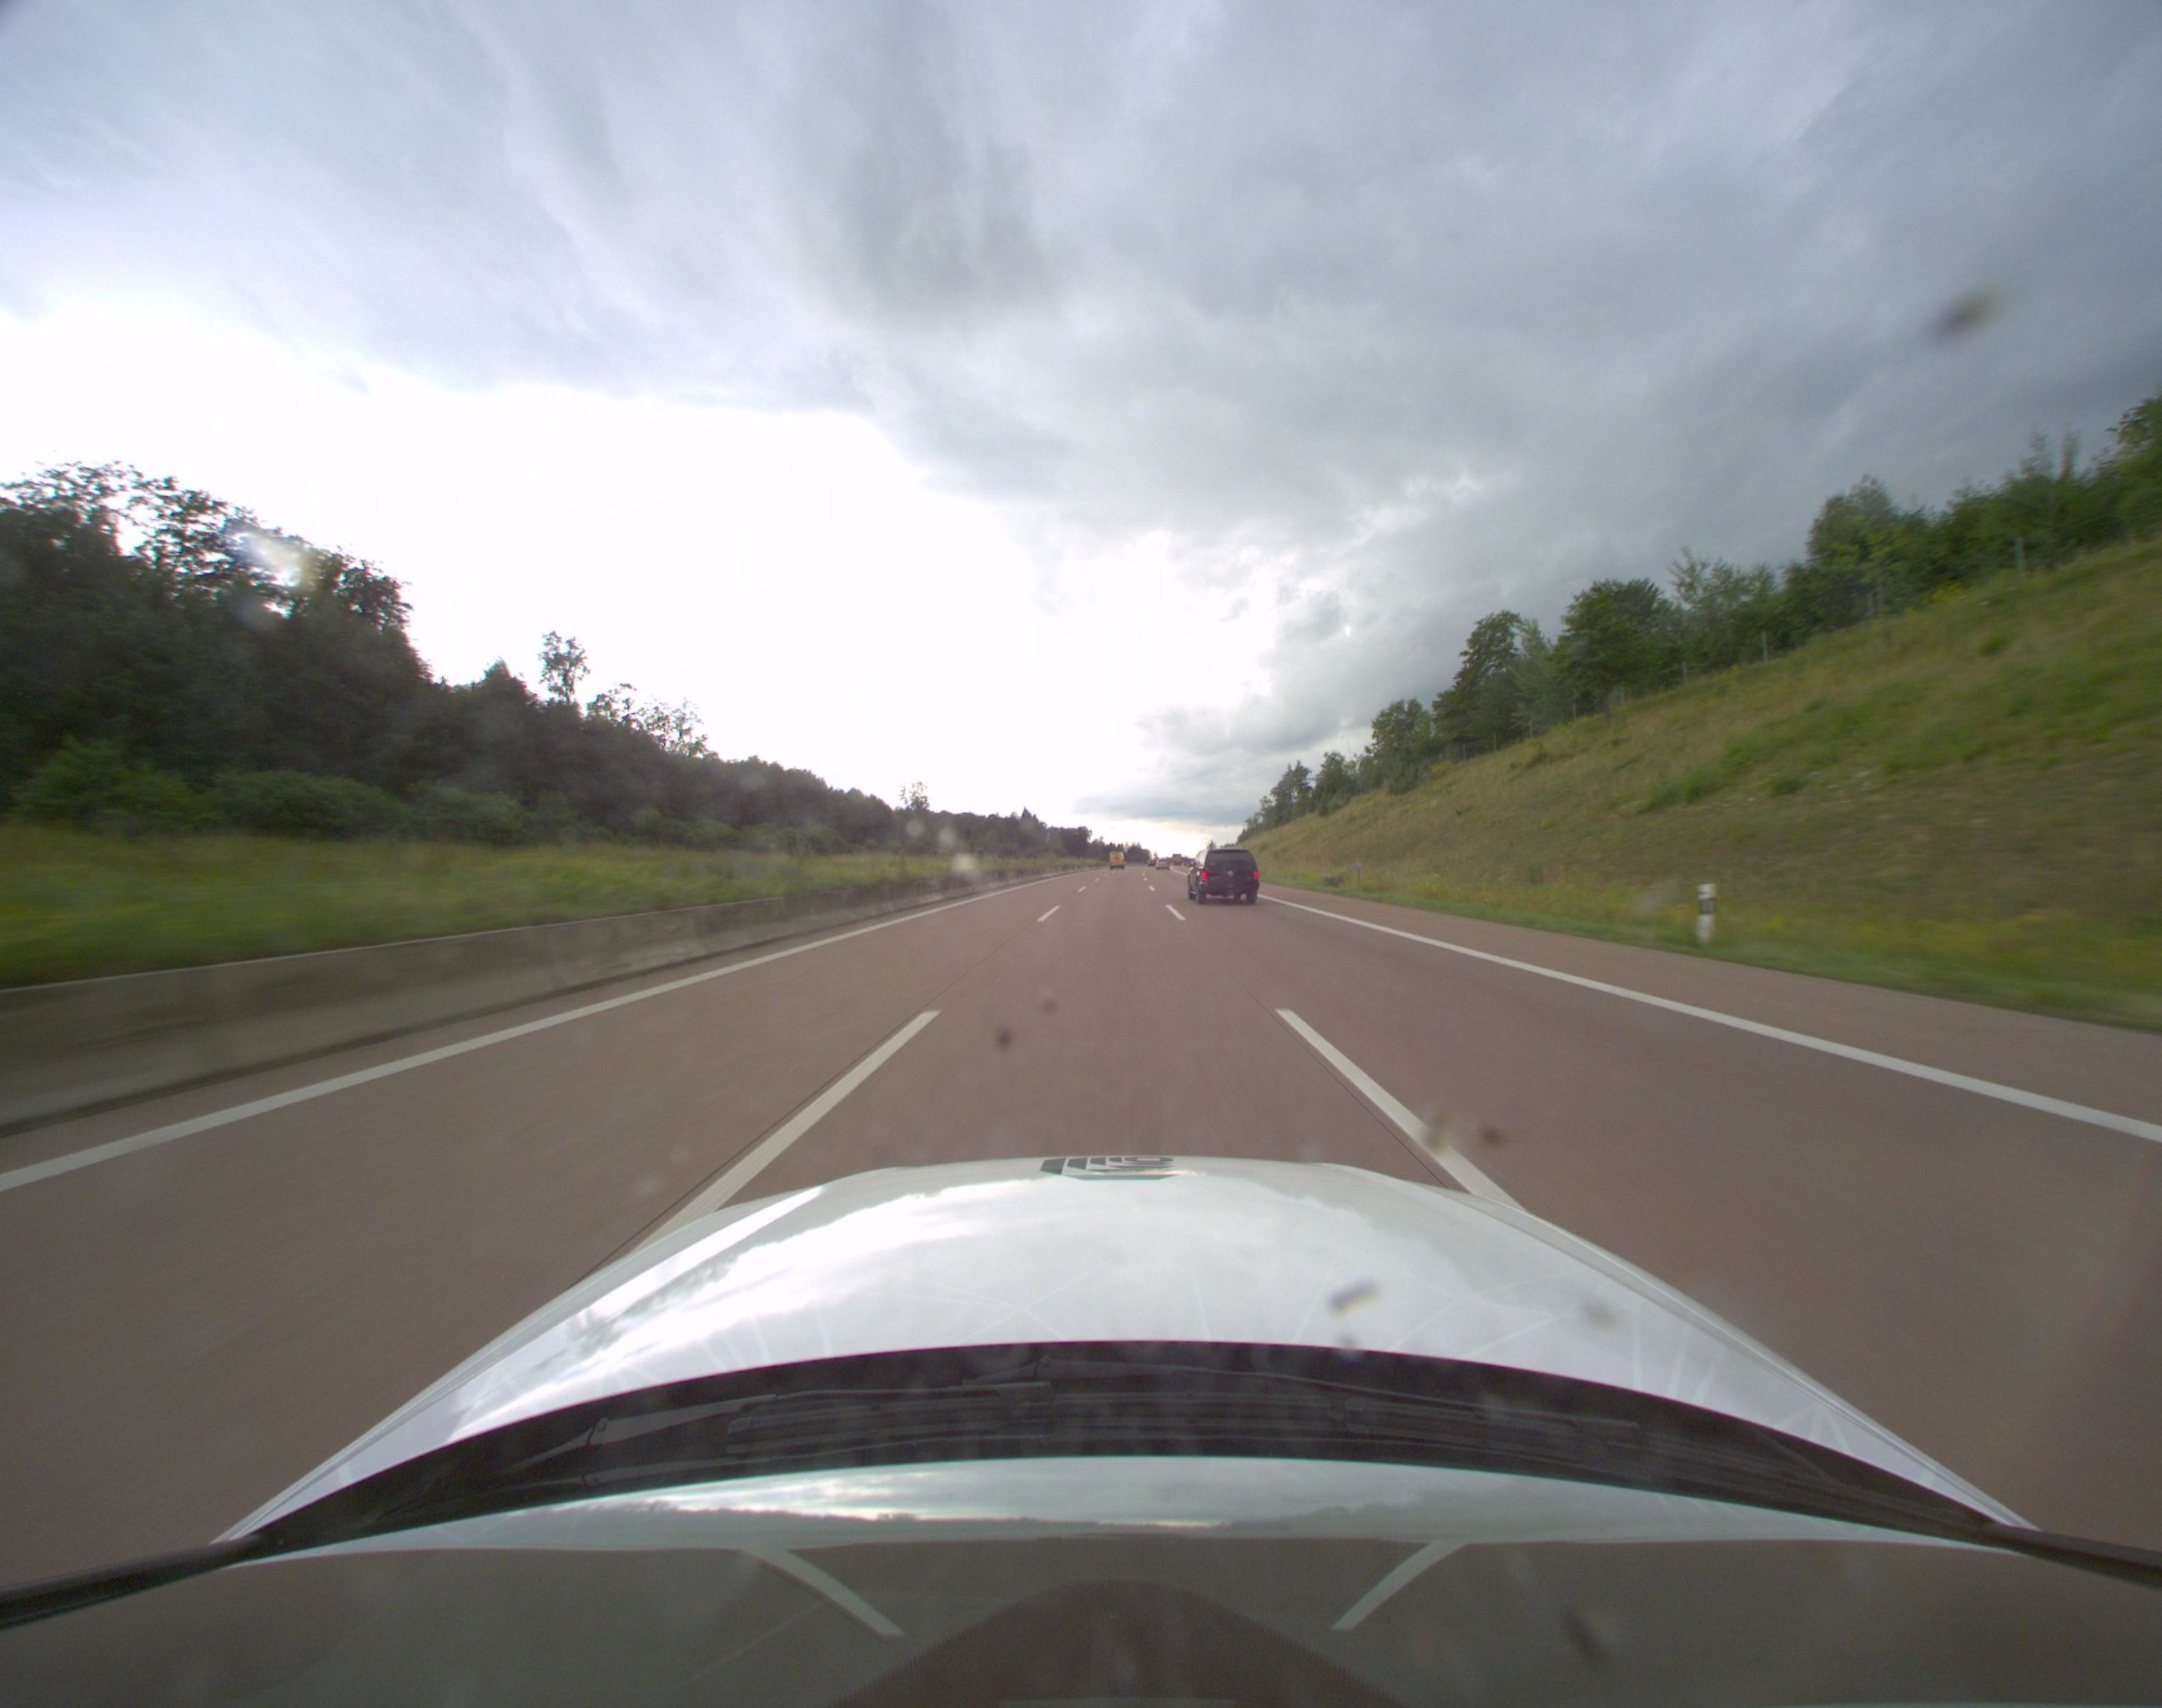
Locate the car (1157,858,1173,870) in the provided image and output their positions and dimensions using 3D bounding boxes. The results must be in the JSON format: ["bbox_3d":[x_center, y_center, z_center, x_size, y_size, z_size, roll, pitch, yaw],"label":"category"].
[{"bbox_3d":[11.226,1.331,108.539,1.967,1.648,4.627,0,-1,6],"label":"car"}]

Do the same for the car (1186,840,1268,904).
[{"bbox_3d":[4.822,0.594,27.651,2.035,1.897,5.582,-2,-1,3],"label":"car"}]

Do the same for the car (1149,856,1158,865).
[{"bbox_3d":[15.874,1.428,178.719,1.878,1.764,4.789,-2,-1,6],"label":"car"}]

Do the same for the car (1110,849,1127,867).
[{"bbox_3d":[5.833,0.650,125.922,2.448,2.706,5.619,-2,-1,4],"label":"car"}]
